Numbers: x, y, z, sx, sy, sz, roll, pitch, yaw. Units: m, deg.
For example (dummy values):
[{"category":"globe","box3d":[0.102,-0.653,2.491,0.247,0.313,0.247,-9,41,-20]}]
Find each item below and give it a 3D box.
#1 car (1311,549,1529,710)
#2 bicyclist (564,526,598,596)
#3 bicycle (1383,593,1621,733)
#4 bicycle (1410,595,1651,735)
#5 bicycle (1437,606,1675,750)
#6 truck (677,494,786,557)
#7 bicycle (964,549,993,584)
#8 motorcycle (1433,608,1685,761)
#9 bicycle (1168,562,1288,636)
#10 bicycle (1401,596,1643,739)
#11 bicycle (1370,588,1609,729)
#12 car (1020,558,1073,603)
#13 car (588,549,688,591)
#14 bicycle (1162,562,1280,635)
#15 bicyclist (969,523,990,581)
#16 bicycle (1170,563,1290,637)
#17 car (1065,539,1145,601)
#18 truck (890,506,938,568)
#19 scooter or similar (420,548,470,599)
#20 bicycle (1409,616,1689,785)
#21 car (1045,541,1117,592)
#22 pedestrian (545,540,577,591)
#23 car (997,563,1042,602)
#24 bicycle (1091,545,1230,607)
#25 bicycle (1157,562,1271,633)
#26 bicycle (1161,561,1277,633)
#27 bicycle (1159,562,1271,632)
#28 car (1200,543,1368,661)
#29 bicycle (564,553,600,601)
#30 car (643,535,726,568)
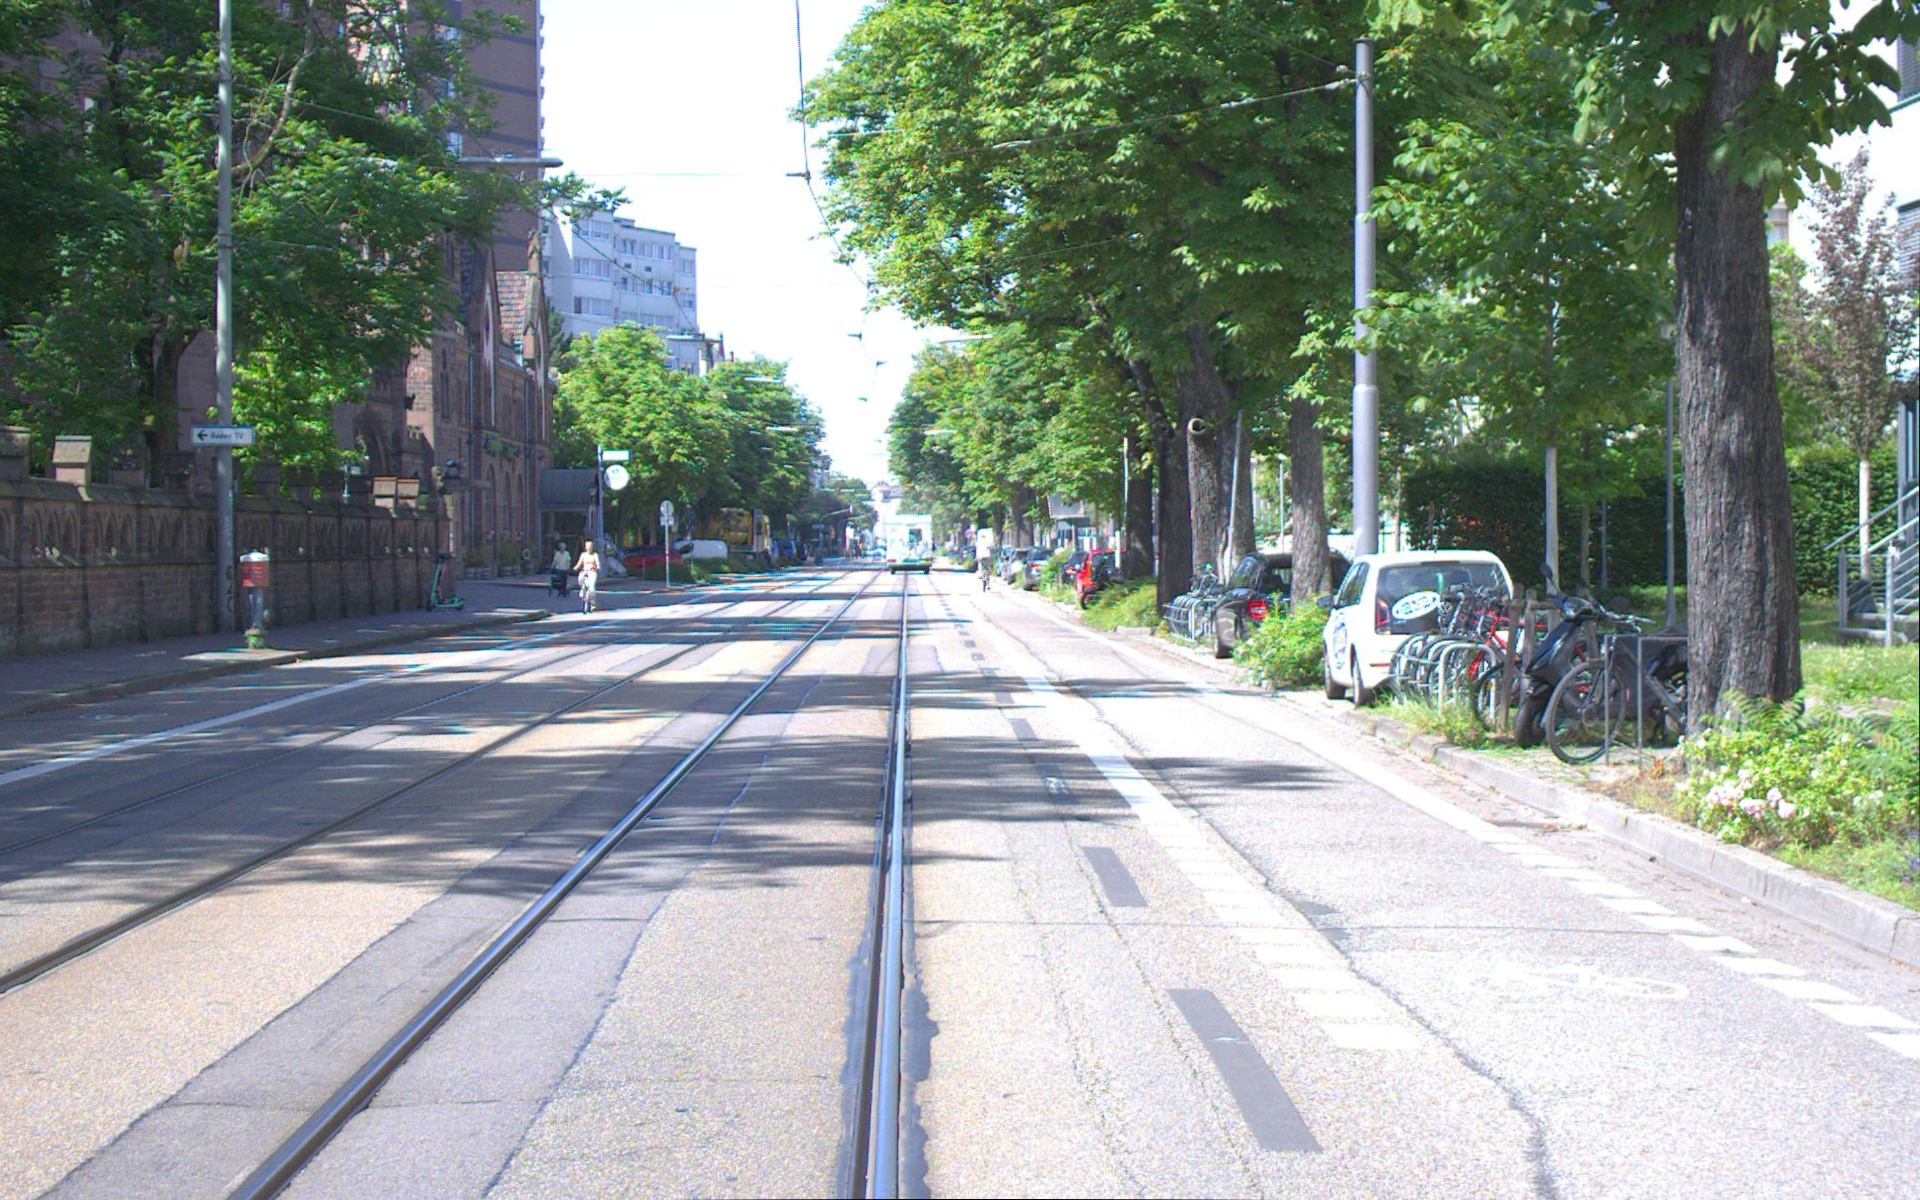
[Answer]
[{"category":"car","box3d":[4.384,0.249,33.201,1.630,1.467,3.630,0,1,0]},{"category":"bicyclist","box3d":[-9.259,-0.950,84.083,0.725,1.692,1.147,0,1,-1]},{"category":"bicycle","box3d":[4.530,0.521,28.800,1.872,1.137,0.686,-1,1,-1]},{"category":"bicycle","box3d":[4.569,0.516,27.593,1.792,1.082,0.726,-1,1,-1]},{"category":"bicycle","box3d":[4.619,0.600,26.708,1.724,1.082,0.639,-1,1,-1]},{"category":"truck","box3d":[-14.116,-4.581,213.519,2.816,3.846,9.990,0,1,21]},{"category":"bicycle","box3d":[0.597,-1.082,111.032,0.855,1.106,2.140,0,1,-1]},{"category":"motorcycle","box3d":[4.396,0.613,25.303,1.724,1.082,0.658,-1,1,-1]},{"category":"bicycle","box3d":[4.023,-0.018,51.700,1.724,1.082,0.697,-1,1,-1]},{"category":"bicycle","box3d":[4.584,0.546,28.123,1.849,1.128,0.680,-1,1,-1]},{"category":"bicycle","box3d":[4.524,0.491,29.447,1.904,1.165,0.819,-1,1,-1]},{"category":"car","box3d":[2.910,-0.676,115.939,1.630,1.467,4.114,0,1,-1]},{"category":"car","box3d":[-14.200,-1.325,151.682,3.988,1.804,1.889,-1,1,-38]},{"category":"bicycle","box3d":[3.970,-0.027,52.343,1.724,1.082,0.570,-1,1,-1]},{"category":"bicyclist","box3d":[0.640,-1.545,111.127,0.636,1.865,1.024,-1,1,-1]},{"category":"bicycle","box3d":[4.004,-0.005,51.042,1.724,1.082,0.629,-1,1,-1]},{"category":"car","box3d":[3.545,-0.749,84.396,1.629,1.467,3.720,0,1,-3]},{"category":"truck","box3d":[-2.340,-3.194,175.261,2.402,3.098,6.037,0,1,-1]},{"category":"scooter or similar","box3d":[-11.460,-0.592,76.524,0.333,1.125,1.184,0,1,38]},{"category":"bicycle","box3d":[3.941,0.667,23.082,1.724,1.082,0.789,-1,1,-1]},{"category":"car","box3d":[3.295,-0.931,94.251,1.629,1.350,3.902,-1,1,-3]},{"category":"pedestrian","box3d":[-11.823,-1.023,101.811,0.883,1.507,1.476,0,1,-9]},{"category":"car","box3d":[2.303,-0.677,133.829,1.630,1.467,4.114,-1,1,-1]},{"category":"bicycle","box3d":[4.383,-0.520,75.299,3.028,1.327,1.041,0,0,3]},{"category":"bicycle","box3d":[3.984,-0.042,53.970,1.724,1.082,0.615,-1,1,-1]},{"category":"bicycle","box3d":[3.986,-0.047,52.932,1.724,1.082,0.589,-1,1,-1]},{"category":"bicycle","box3d":[4.045,-0.047,54.548,1.724,1.082,0.478,-1,1,-1]},{"category":"car","box3d":[4.232,-0.013,45.437,1.629,1.478,4.274,0,1,-3]},{"category":"bicycle","box3d":[-9.248,-0.566,84.151,0.662,1.150,2.014,0,1,0]},{"category":"car","box3d":[-14.815,-2.585,184.724,3.987,1.744,2.000,-1,1,-31]}]
